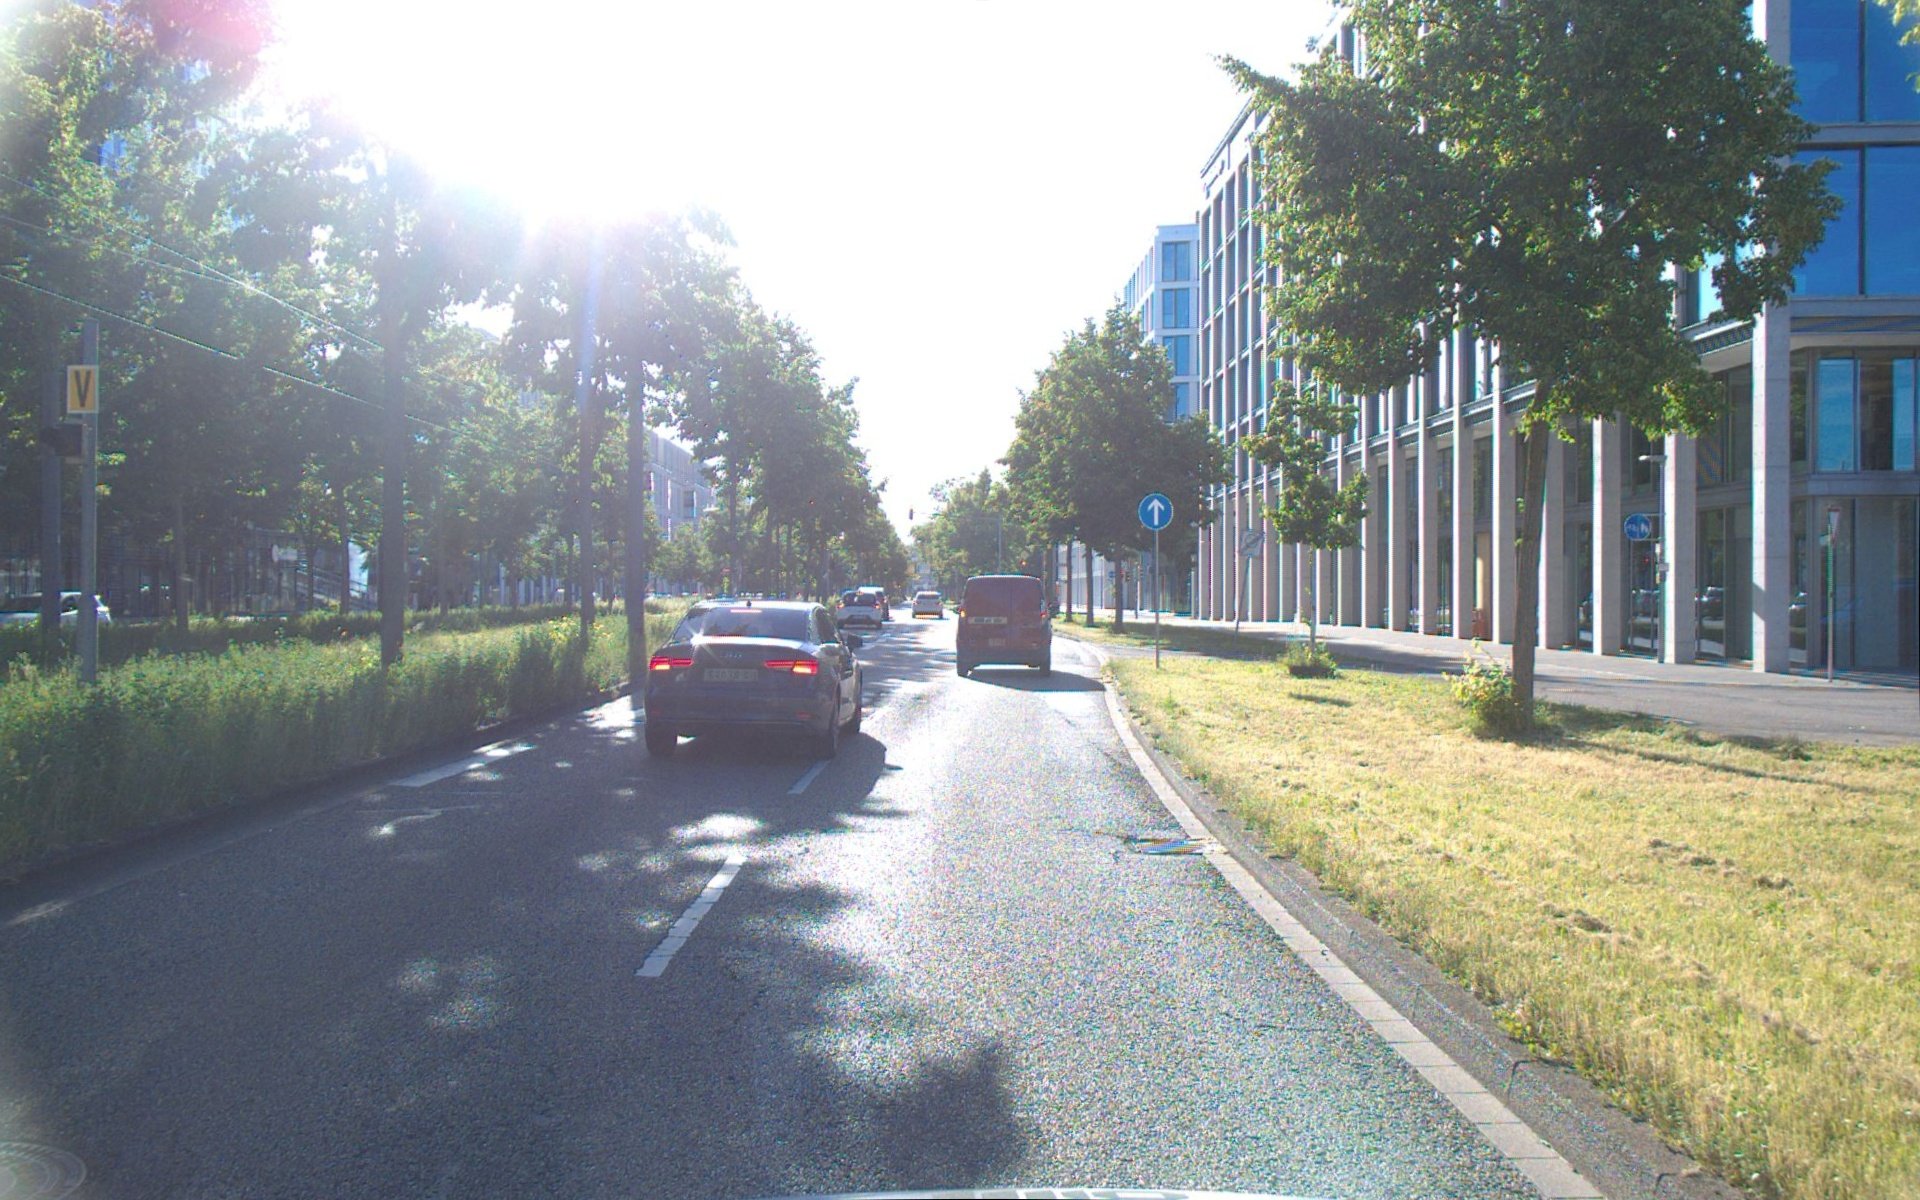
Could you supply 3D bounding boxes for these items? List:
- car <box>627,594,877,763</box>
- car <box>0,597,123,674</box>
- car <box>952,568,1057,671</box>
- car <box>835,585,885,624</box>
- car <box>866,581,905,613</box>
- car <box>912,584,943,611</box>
[{"bbox_3d":[-1.855,0.653,16.003,1.685,1.390,4.147,0,0,3],"label":"car"},{"bbox_3d":[-22.938,0.842,41.452,1.761,1.718,4.320,1,1,-2],"label":"car"},{"bbox_3d":[0.784,0.317,31.381,1.761,1.808,3.999,1,1,-1],"label":"car"},{"bbox_3d":[-3.876,0.149,64.429,1.903,1.466,3.998,0,0,-3],"label":"car"},{"bbox_3d":[-3.726,-0.146,83.115,1.805,1.561,3.940,0,0,0],"label":"car"},{"bbox_3d":[-1.798,-0.164,90.688,1.686,1.450,3.815,0,0,-2],"label":"car"}]
